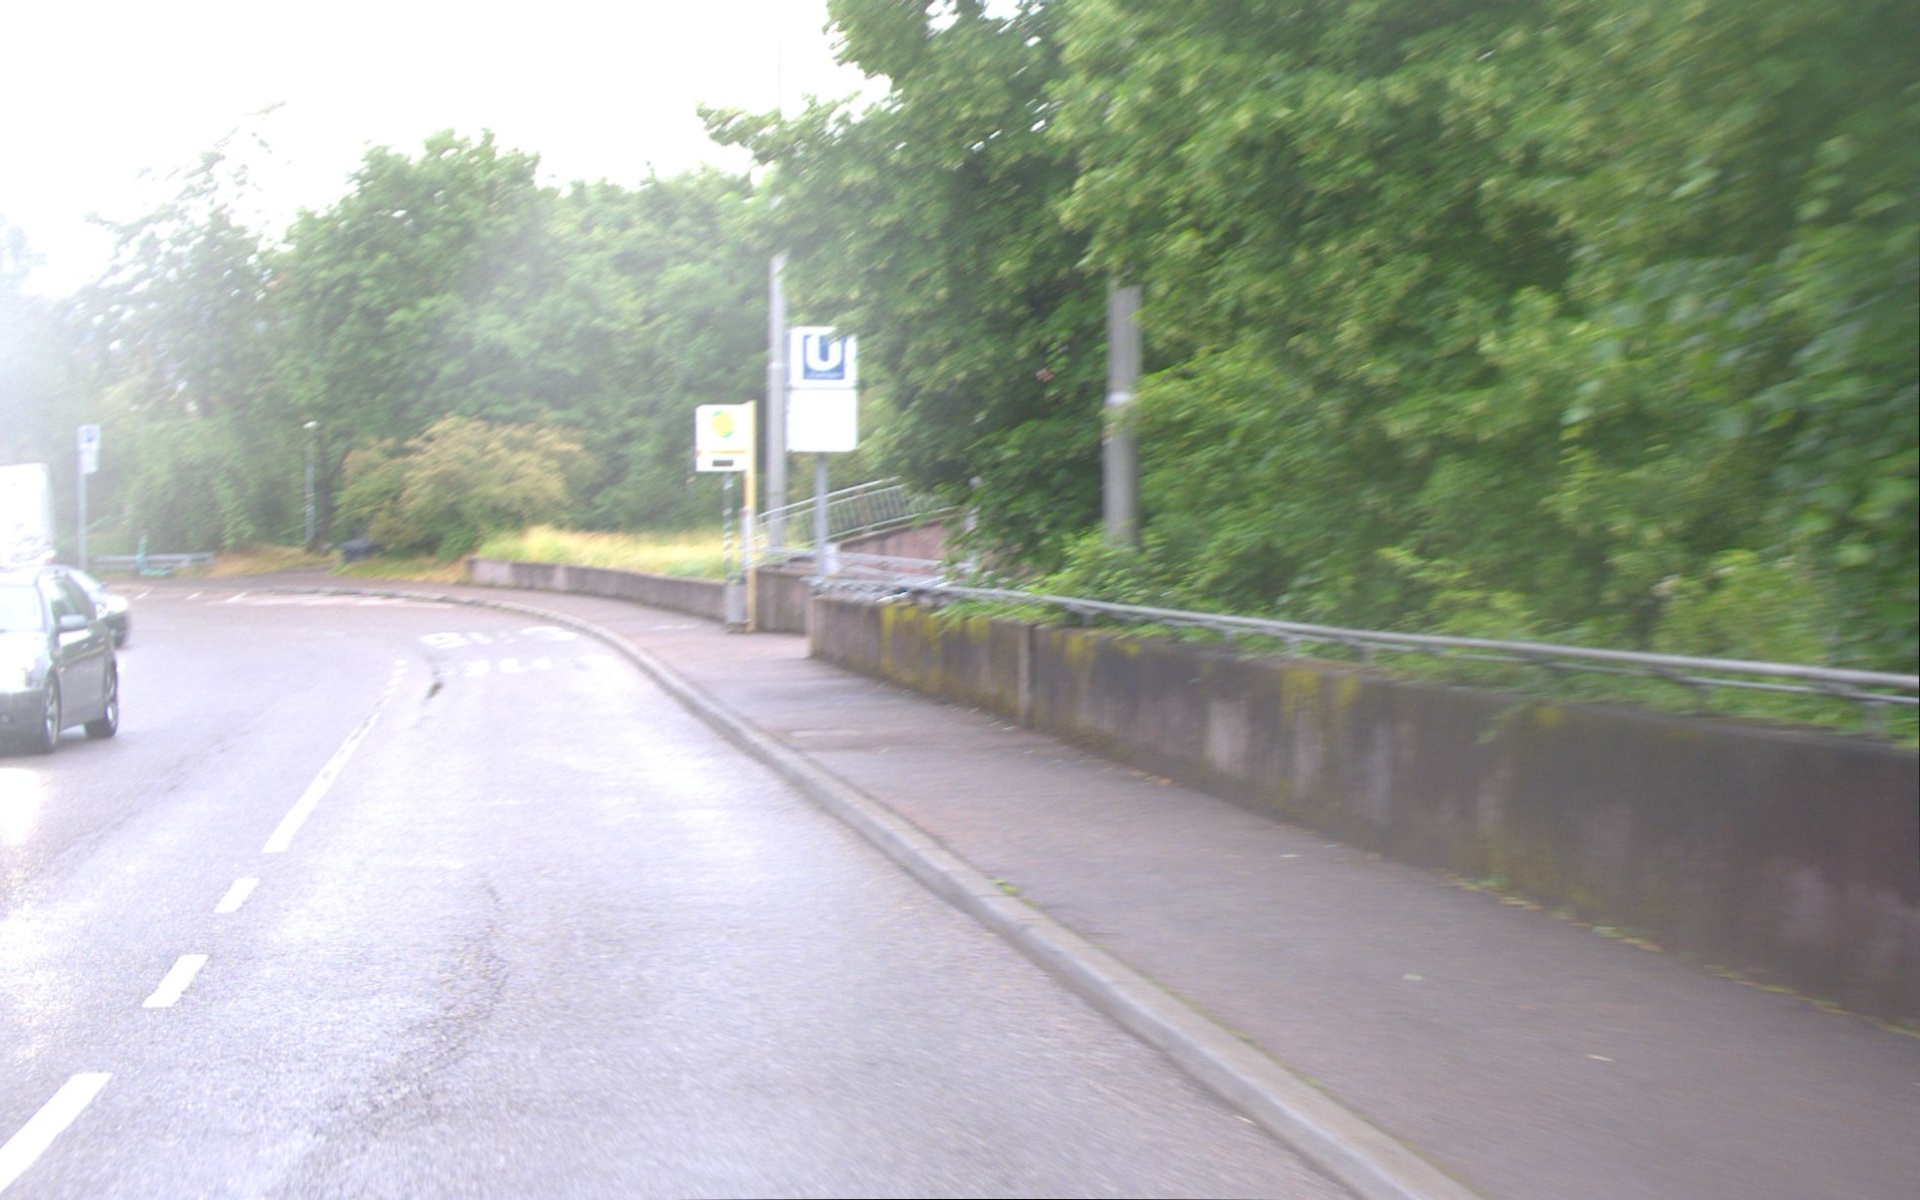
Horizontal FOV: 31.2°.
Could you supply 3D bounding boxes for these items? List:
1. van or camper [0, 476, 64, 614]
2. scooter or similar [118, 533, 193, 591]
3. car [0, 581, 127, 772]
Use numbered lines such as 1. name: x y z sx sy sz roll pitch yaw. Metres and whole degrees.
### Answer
1. van or camper: -24.282 -1.212 80.021 6.268 2.933 2.395 -1 6 24
2. scooter or similar: -18.830 -0.888 80.458 1.706 1.278 0.451 -2 3 24
3. car: -8.168 0.604 28.669 1.737 1.446 4.616 -2 1 -6
